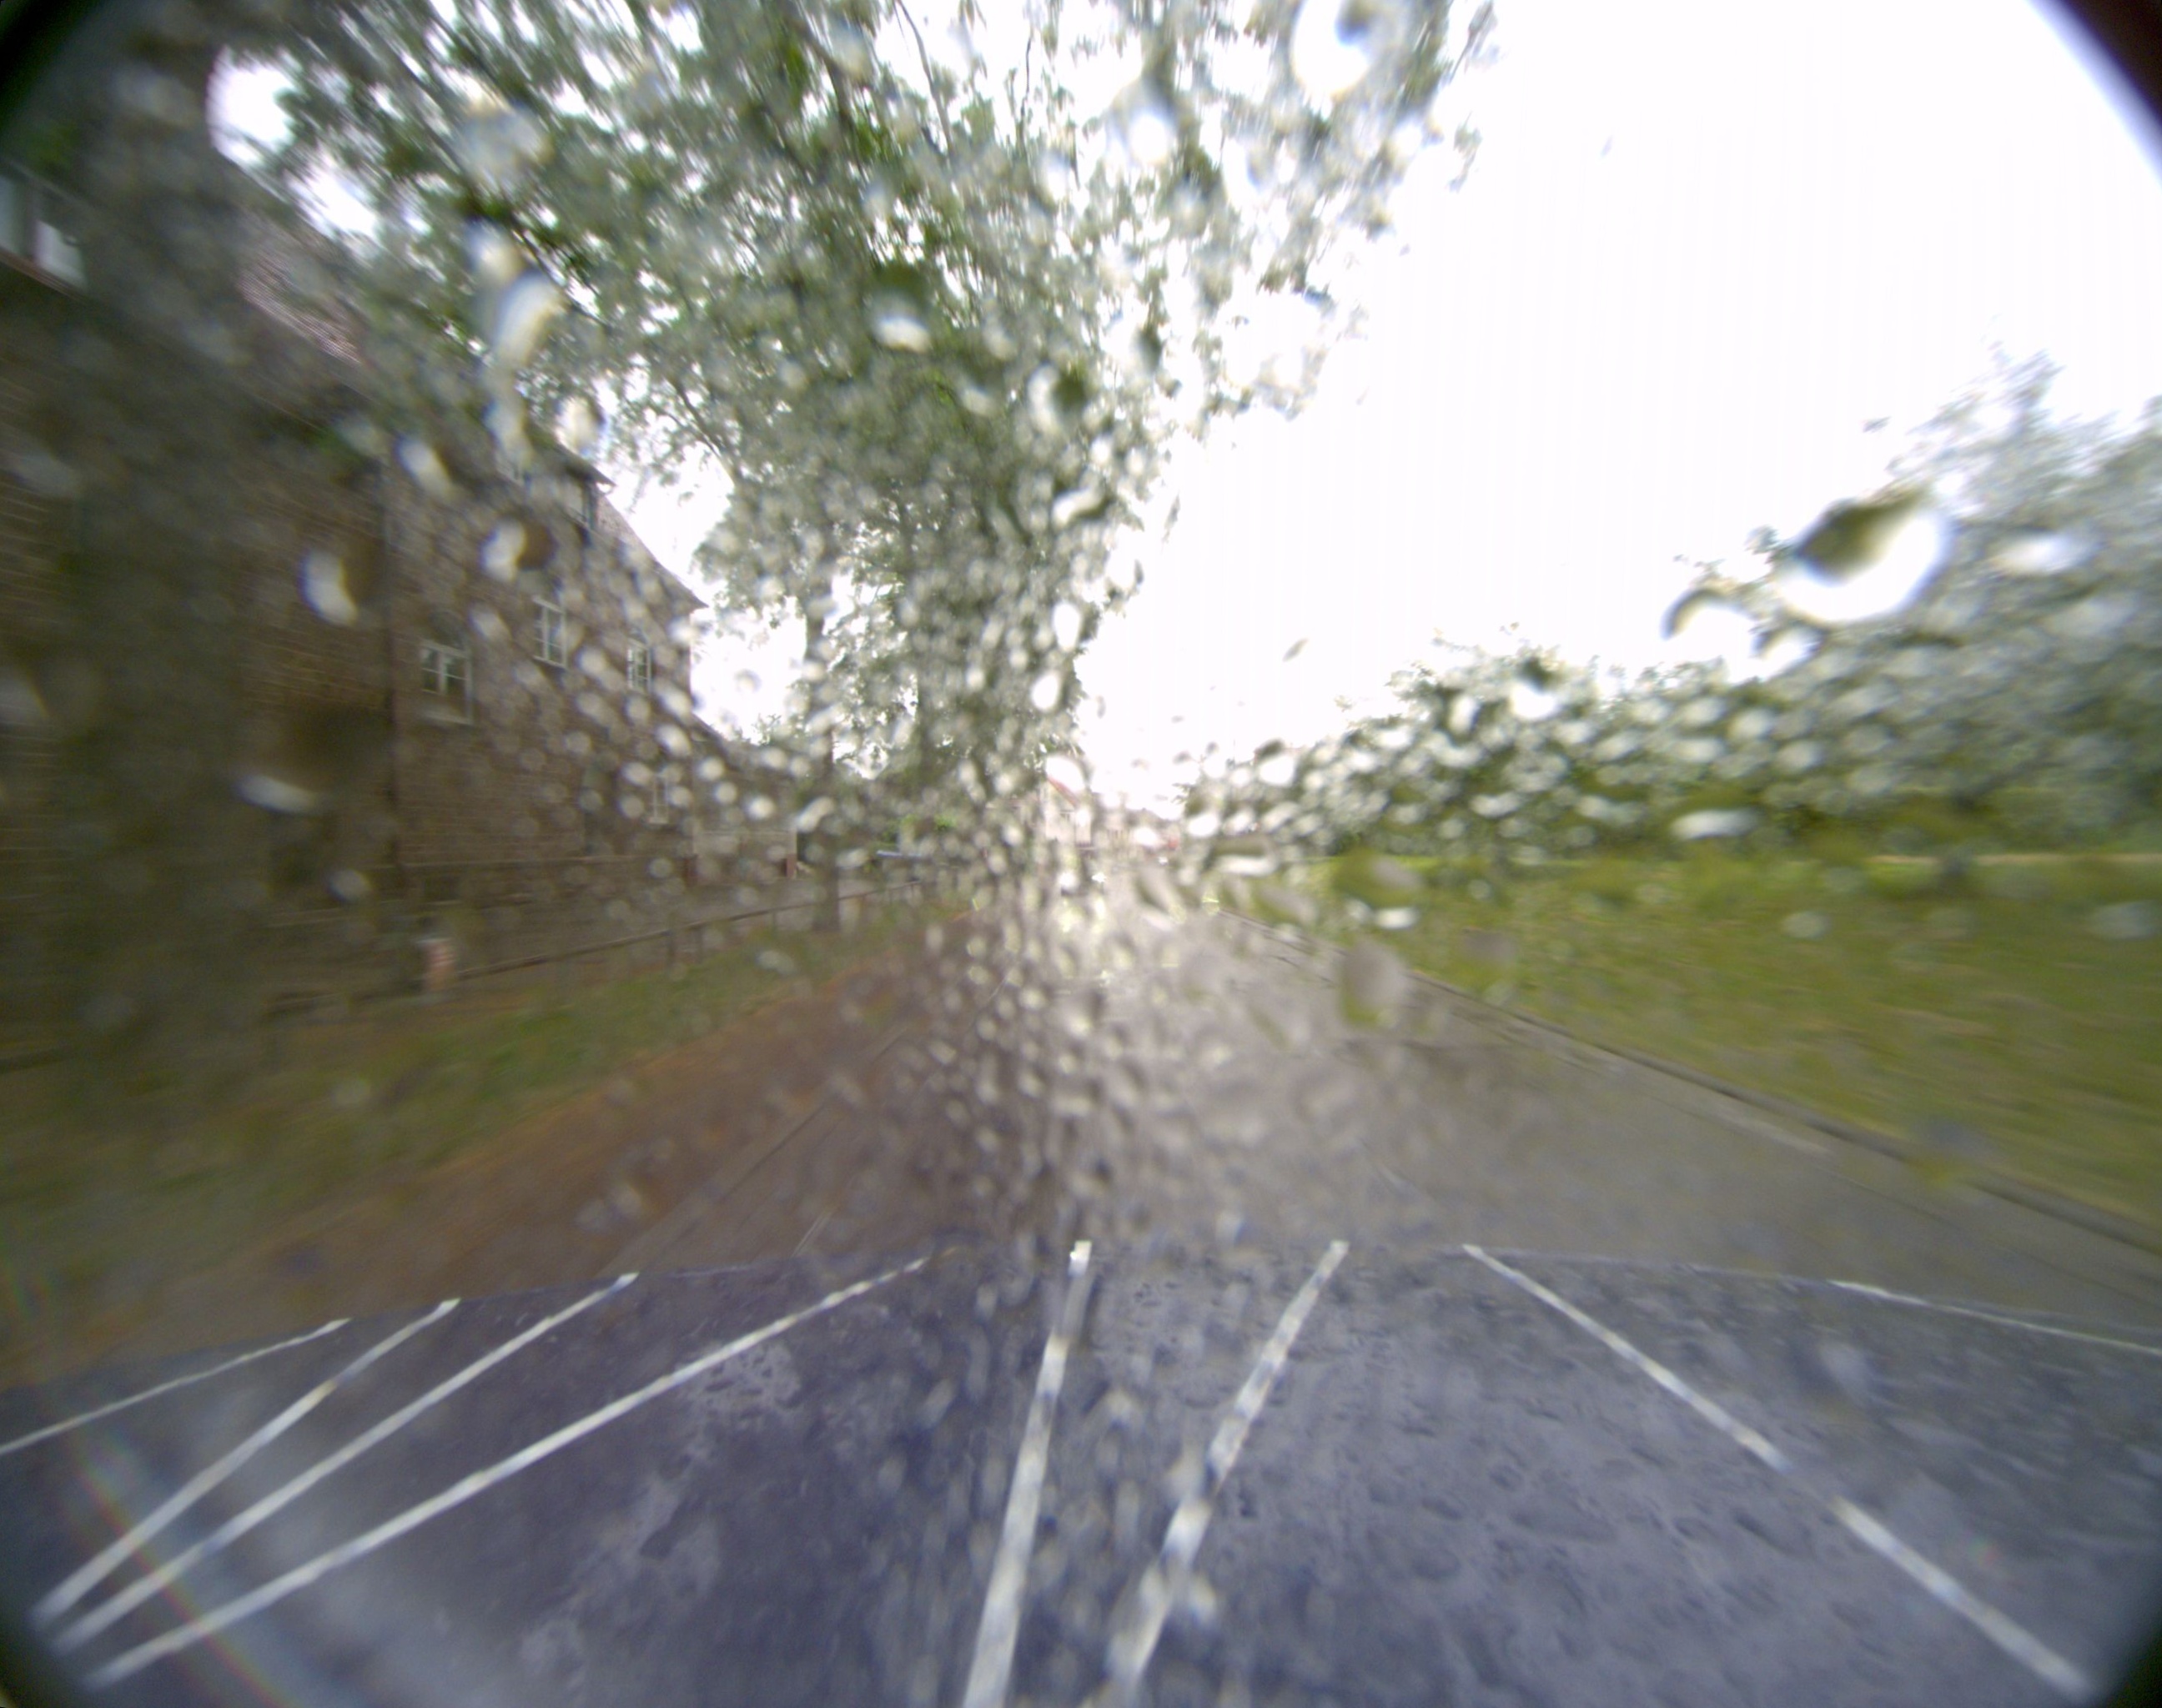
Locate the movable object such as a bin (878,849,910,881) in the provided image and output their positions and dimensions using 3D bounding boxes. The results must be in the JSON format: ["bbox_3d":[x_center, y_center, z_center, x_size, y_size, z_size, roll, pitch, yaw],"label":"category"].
[{"bbox_3d":[-8.905,0.499,36.246,1.238,1.428,0.795,4,1,-1],"label":"movable object such as a bin"}]

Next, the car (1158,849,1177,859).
[{"bbox_3d":[14.452,0.084,127.644,1.892,1.566,3.887,-3,0,-13],"label":"car"}]

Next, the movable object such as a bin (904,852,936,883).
[{"bbox_3d":[-7.635,0.642,36.095,1.296,1.410,0.795,3,1,-1],"label":"movable object such as a bin"}]

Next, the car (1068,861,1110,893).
[{"bbox_3d":[0.296,0.970,33.494,1.667,1.290,3.518,-2,-1,-2],"label":"car"}]

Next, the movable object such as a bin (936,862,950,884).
[{"bbox_3d":[-6.568,0.887,36.226,0.538,1.017,0.462,3,1,-1],"label":"movable object such as a bin"}]

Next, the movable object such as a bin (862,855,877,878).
[{"bbox_3d":[-10.082,0.583,36.230,0.568,1.073,0.530,3,1,-1],"label":"movable object such as a bin"}]

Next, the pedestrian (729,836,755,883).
[{"bbox_3d":[-12.597,0.204,28.269,0.536,1.744,0.867,1,0,0],"label":"pedestrian"}]

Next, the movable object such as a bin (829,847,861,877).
[{"bbox_3d":[-11.201,0.393,36.088,1.151,1.335,0.795,4,1,-1],"label":"movable object such as a bin"}]
